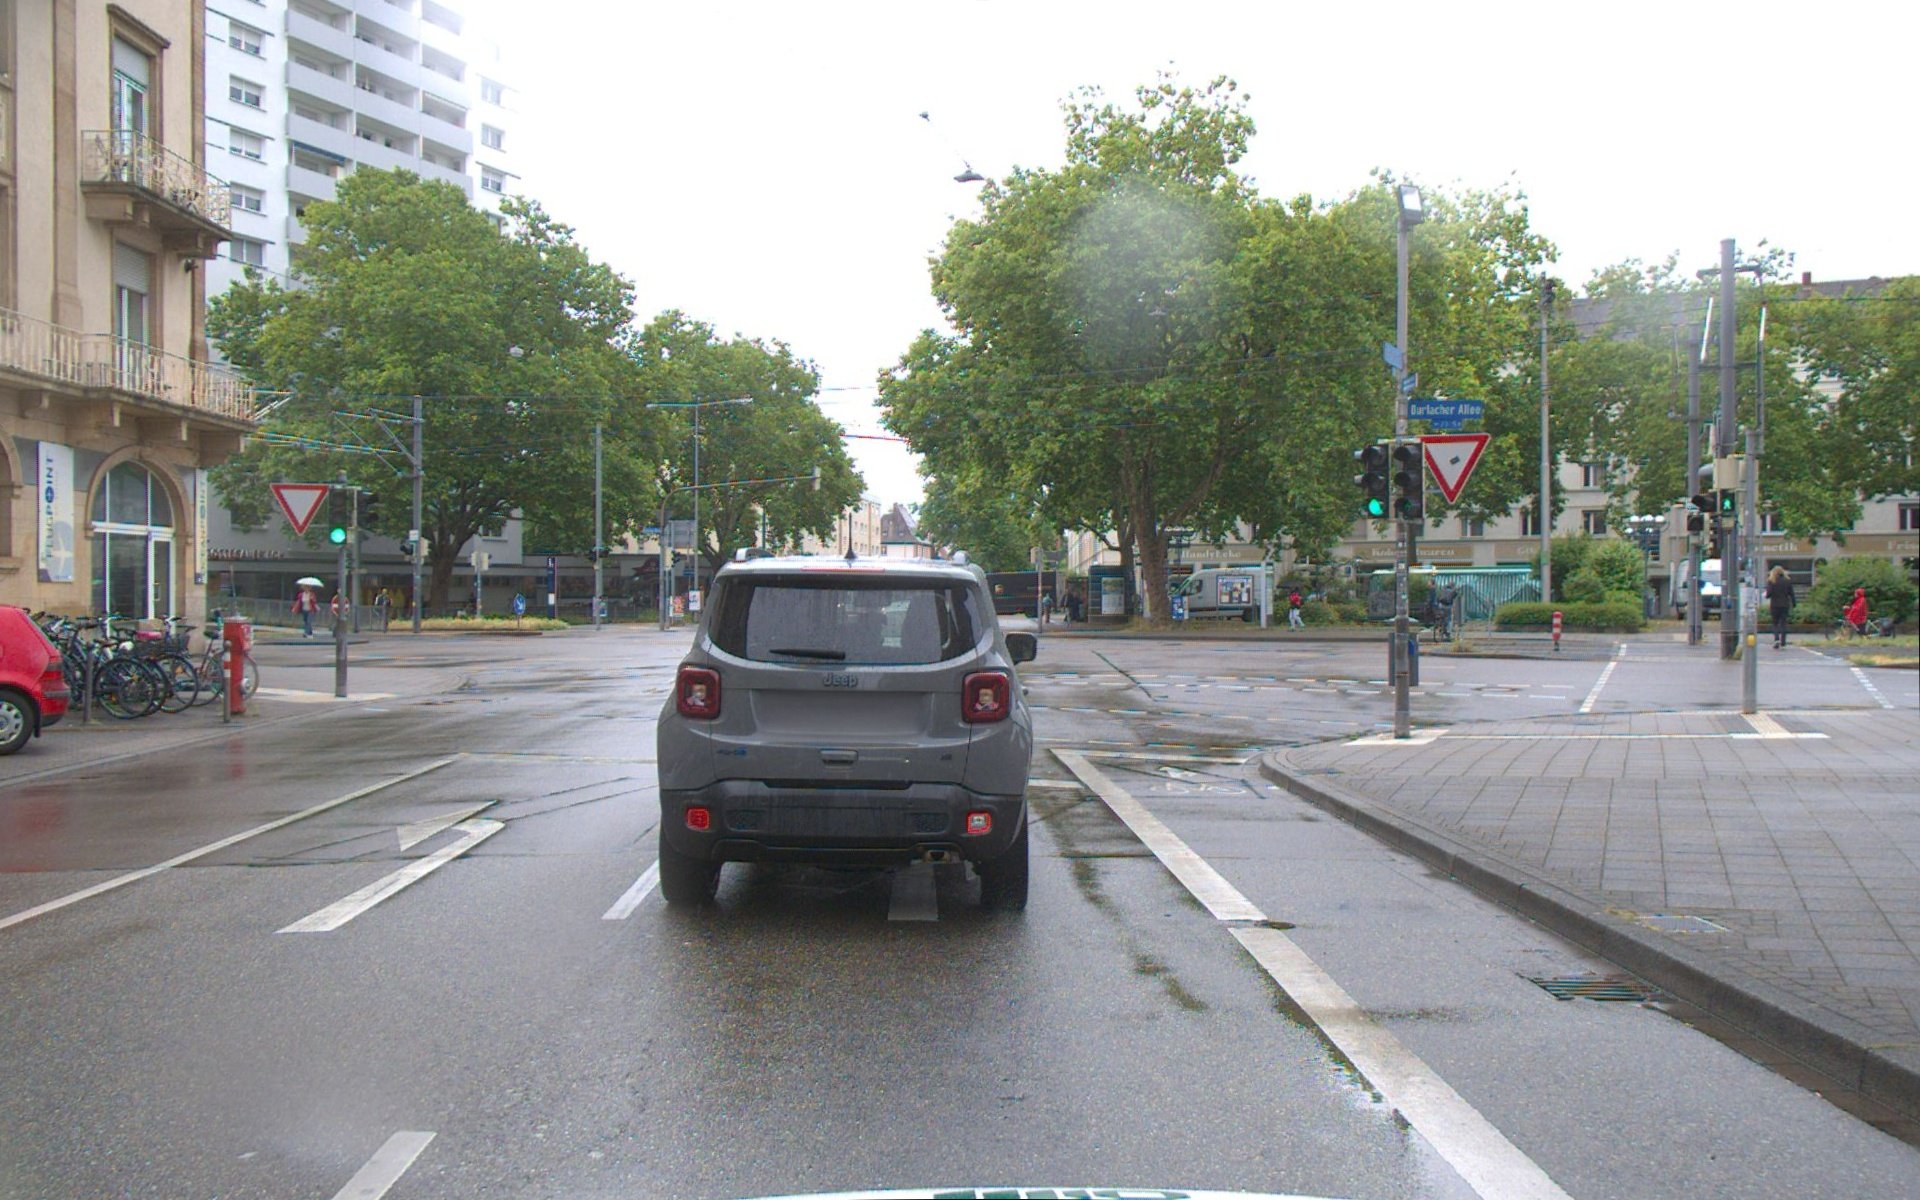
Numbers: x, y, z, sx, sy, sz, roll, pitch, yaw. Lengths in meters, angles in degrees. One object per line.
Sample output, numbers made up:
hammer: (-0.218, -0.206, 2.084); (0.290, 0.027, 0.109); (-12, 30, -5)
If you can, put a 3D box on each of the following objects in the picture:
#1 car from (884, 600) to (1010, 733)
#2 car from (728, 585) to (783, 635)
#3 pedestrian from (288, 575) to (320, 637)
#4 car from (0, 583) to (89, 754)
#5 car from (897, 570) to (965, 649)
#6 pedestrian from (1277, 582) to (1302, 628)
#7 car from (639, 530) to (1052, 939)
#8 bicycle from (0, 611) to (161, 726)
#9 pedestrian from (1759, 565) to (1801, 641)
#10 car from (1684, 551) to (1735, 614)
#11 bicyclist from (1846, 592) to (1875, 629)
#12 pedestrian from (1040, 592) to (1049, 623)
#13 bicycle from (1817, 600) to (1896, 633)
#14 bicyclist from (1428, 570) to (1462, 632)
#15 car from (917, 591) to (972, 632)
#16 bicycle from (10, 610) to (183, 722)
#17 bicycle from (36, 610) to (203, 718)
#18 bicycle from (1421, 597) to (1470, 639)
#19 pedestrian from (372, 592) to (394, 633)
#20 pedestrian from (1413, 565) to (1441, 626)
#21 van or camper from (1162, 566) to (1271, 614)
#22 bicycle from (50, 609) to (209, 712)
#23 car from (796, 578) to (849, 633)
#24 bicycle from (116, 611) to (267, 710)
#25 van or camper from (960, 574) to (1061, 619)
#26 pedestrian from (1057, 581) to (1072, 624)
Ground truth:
car: (-0.154, 0.718, 19.468); (1.335, 1.400, 3.312); (-1, 0, -1)
car: (-7.317, 0.341, 59.541); (1.778, 1.700, 3.917); (-1, 0, -5)
pedestrian: (-19.933, 0.180, 50.254); (0.605, 1.858, 0.695); (-1, 0, 13)
car: (-10.182, 0.649, 15.447); (3.371, 1.585, 1.681); (-1, 0, -40)
car: (-0.780, 0.235, 45.070); (1.734, 2.049, 3.999); (-1, 0, -1)
pedestrian: (11.517, 0.181, 57.780); (0.660, 1.581, 0.761); (0, -1, 28)
car: (-0.531, 0.566, 9.065); (1.739, 1.716, 3.847); (-1, 0, -1)
bicycle: (-10.300, 0.793, 19.245); (1.728, 1.288, 0.522); (-1, 0, -2)
pedestrian: (18.343, 0.074, 37.009); (0.767, 1.674, 0.655); (-1, 0, 23)
car: (32.266, -0.740, 71.269); (1.868, 2.600, 4.786); (-1, 0, 23)
bicyclist: (25.676, 0.290, 47.171); (0.665, 1.044, 0.559); (0, 0, 23)
pedestrian: (4.772, 0.402, 93.282); (0.448, 1.733, 0.424); (0, 0, 0)
bicycle: (25.573, 0.479, 47.224); (1.927, 0.927, 0.559); (0, 0, 23)
bicyclist: (13.207, 0.024, 45.051); (0.674, 1.645, 0.882); (-1, 0, 30)
car: (-0.528, 0.345, 53.604); (1.561, 1.274, 3.572); (-1, 0, -4)
bicycle: (-10.321, 0.782, 19.792); (1.774, 1.288, 0.498); (-1, 0, -2)
bicycle: (-10.396, 0.788, 20.477); (1.774, 1.288, 0.498); (-1, 0, -2)
bicycle: (13.257, 0.477, 45.130); (0.679, 1.039, 2.653); (-1, 0, 29)
pedestrian: (-21.927, 0.473, 62.834); (0.433, 1.556, 0.643); (-1, 0, 25)
pedestrian: (15.786, -0.138, 55.952); (0.789, 2.049, 0.589); (-1, 0, 26)
van or camper: (12.690, -0.492, 82.121); (5.149, 2.356, 2.091); (0, 1, 3)
bicycle: (-10.776, 0.771, 21.499); (1.728, 1.288, 0.608); (-1, 0, -2)
car: (-4.562, 0.172, 55.275); (1.687, 1.769, 3.726); (-1, 0, -4)
bicycle: (-10.383, 0.806, 22.383); (1.728, 1.288, 0.608); (-1, 0, -2)
van or camper: (3.402, -0.228, 112.185); (6.398, 2.963, 2.492); (-1, 0, 26)
pedestrian: (5.071, 0.112, 80.050); (0.637, 2.049, 0.483); (0, 0, 12)
